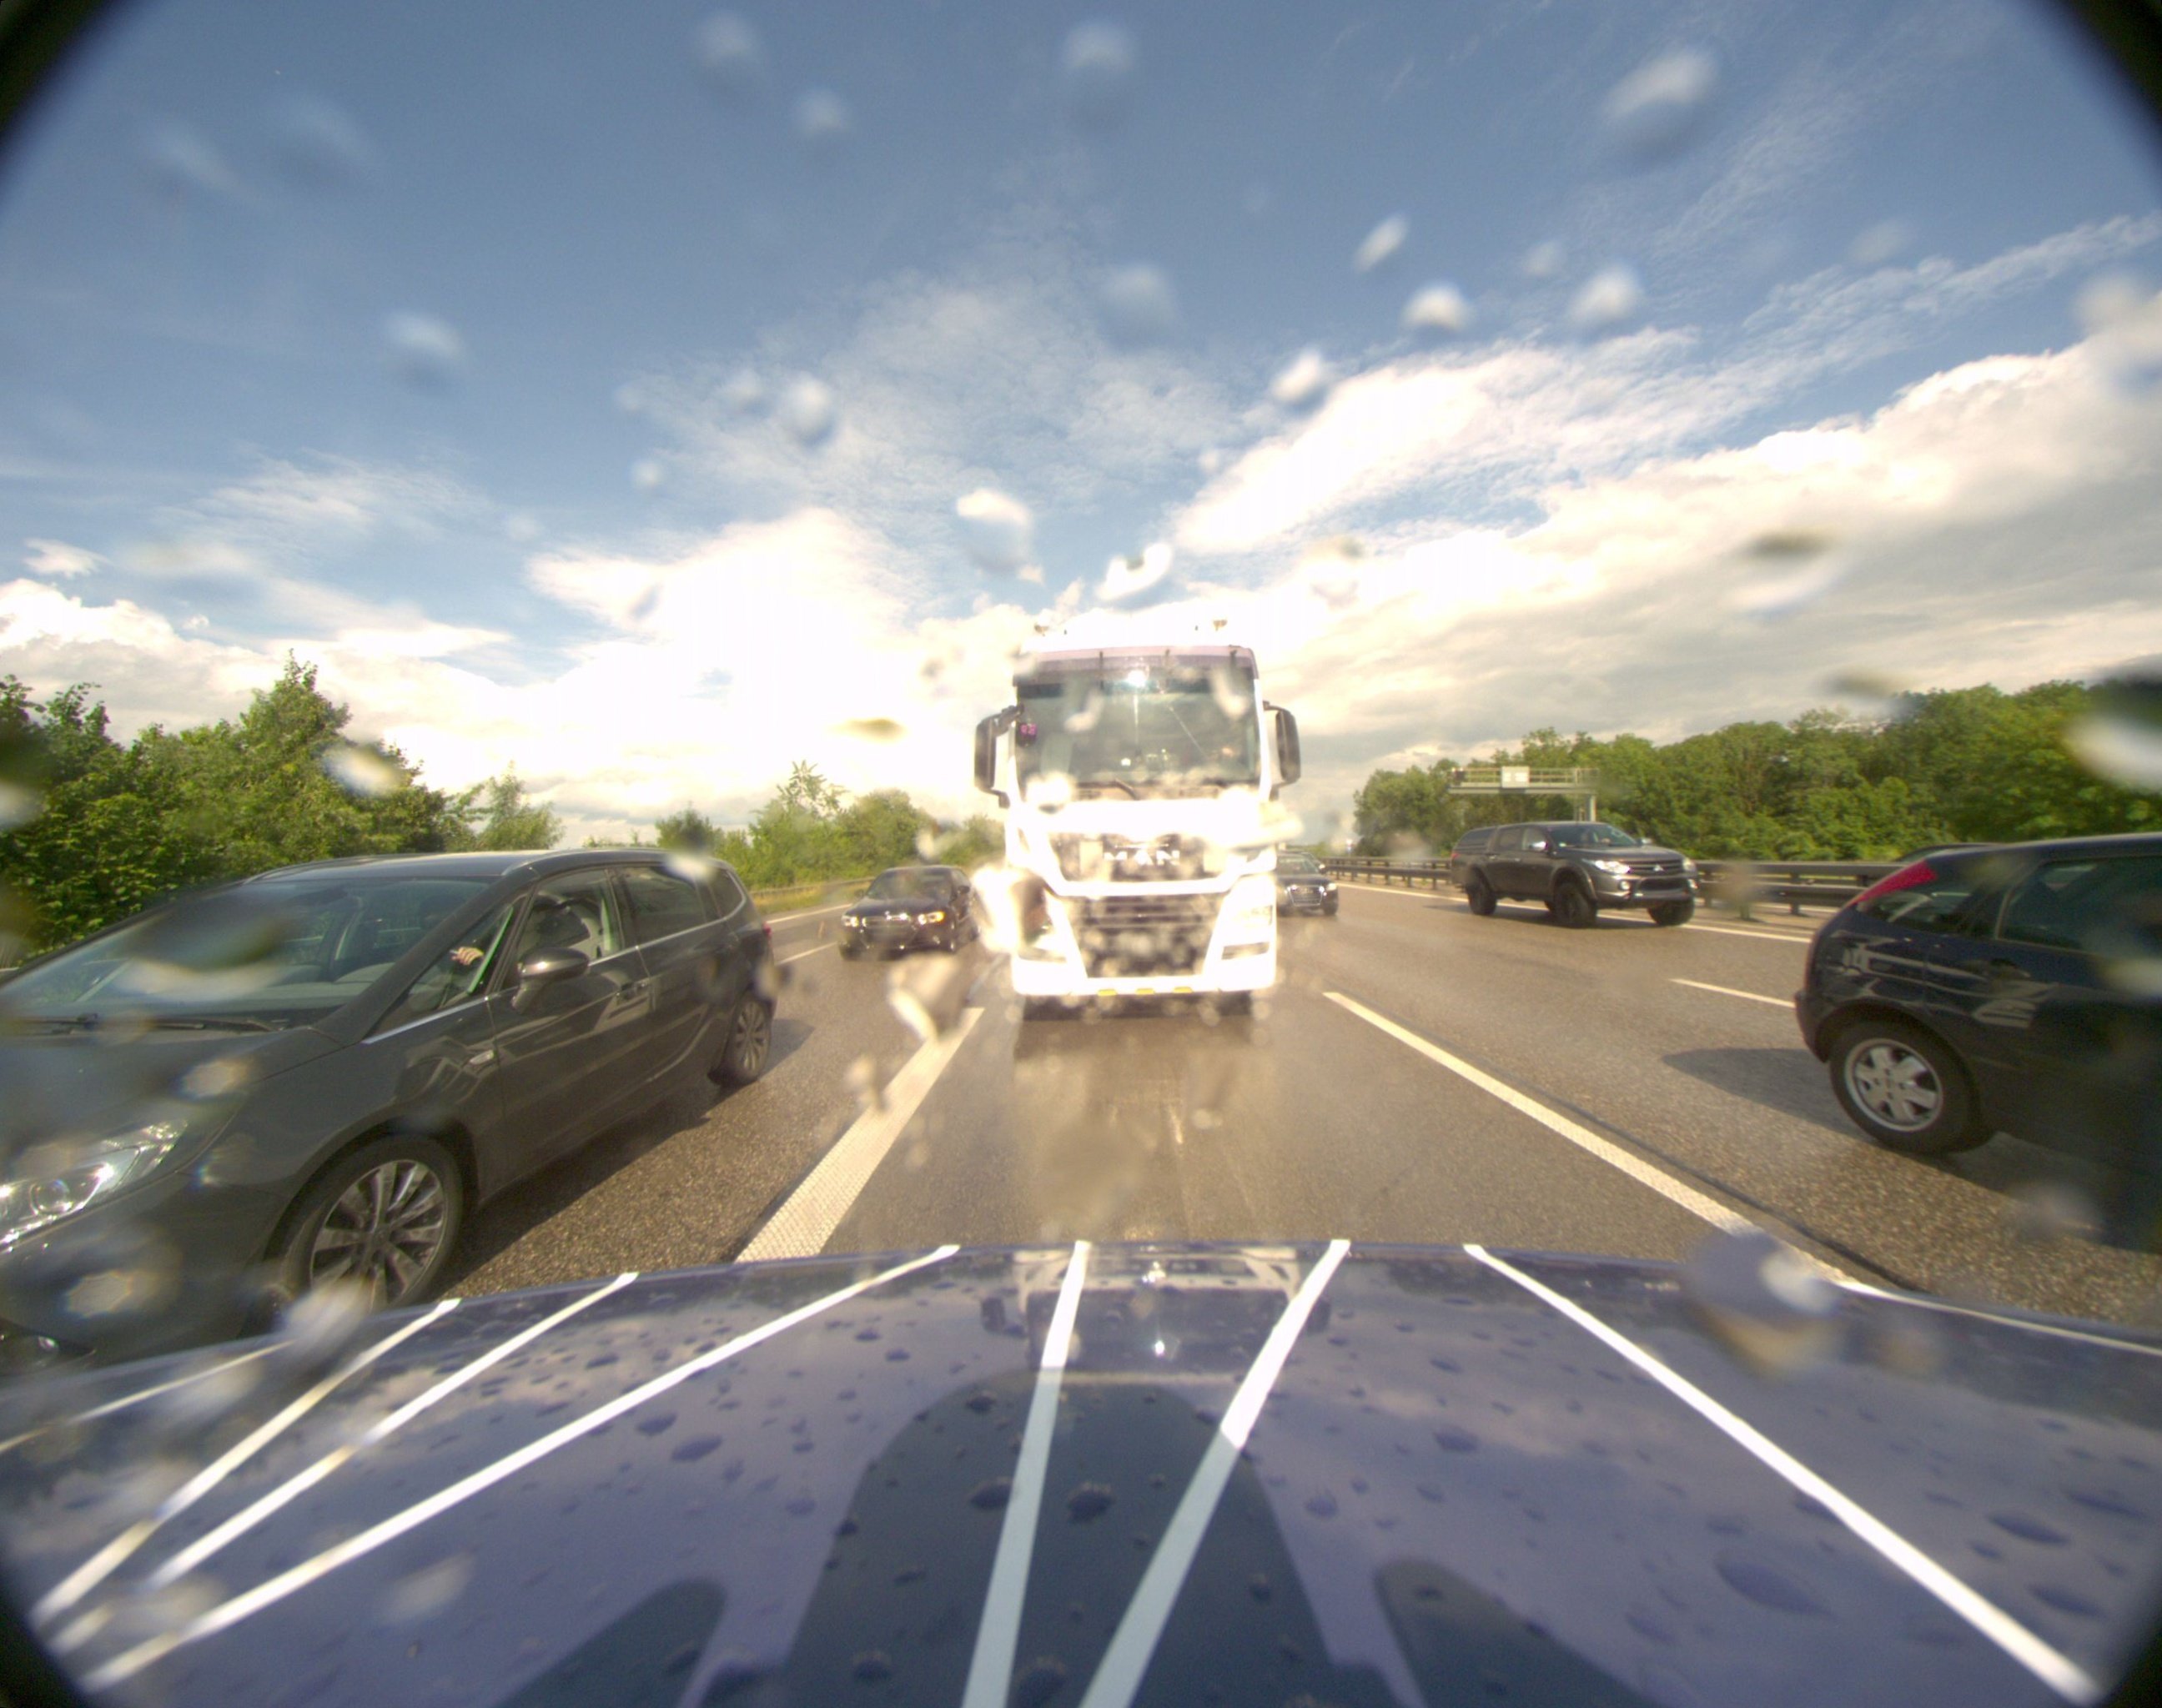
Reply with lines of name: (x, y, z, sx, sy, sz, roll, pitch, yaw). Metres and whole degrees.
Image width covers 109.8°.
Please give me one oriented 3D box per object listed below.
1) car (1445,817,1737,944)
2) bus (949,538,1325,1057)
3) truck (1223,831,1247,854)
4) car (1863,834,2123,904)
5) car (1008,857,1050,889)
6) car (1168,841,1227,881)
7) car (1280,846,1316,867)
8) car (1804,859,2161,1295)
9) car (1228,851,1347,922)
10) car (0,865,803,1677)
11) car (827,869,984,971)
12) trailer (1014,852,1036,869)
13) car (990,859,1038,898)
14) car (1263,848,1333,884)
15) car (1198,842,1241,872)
car: (8.951, 0.383, 14.098, 1.811, 1.833, 5.418, -2, 0, 1)
bus: (0.508, -0.474, 11.096, 2.904, 4.104, 9.844, -2, 0, 1)
truck: (27.492, -2.053, 135.716, 2.799, 3.861, 8.919, -2, 0, 3)
car: (20.116, 0.297, 17.001, 1.693, 1.346, 3.441, -2, 0, 0)
car: (-2.541, 0.911, 38.222, 1.858, 1.434, 3.999, -2, 1, -1)
car: (5.324, 0.287, 35.358, 1.881, 1.669, 4.625, -2, 0, -1)
car: (17.001, 0.186, 59.757, 1.707, 1.508, 4.000, -2, 0, 1)
car: (4.586, 0.784, 1.903, 1.763, 1.435, 4.000, -2, 0, 1)
car: (4.786, 0.685, 18.182, 1.754, 1.425, 4.054, -2, 0, 1)
car: (-3.194, 0.939, 3.630, 1.858, 1.622, 4.735, -2, 0, 1)
car: (-2.816, 1.008, 13.089, 1.722, 1.346, 3.884, -2, 0, 1)
trailer: (-6.311, 0.727, 85.747, 1.810, 1.736, 3.968, -3, 1, 4)
car: (-2.640, 0.943, 30.691, 1.744, 1.357, 3.998, -2, 0, -3)
car: (9.531, 0.476, 33.756, 1.925, 1.416, 4.372, -2, 1, 1)
car: (9.649, 0.184, 53.356, 1.998, 1.906, 5.235, -2, 1, 0)
